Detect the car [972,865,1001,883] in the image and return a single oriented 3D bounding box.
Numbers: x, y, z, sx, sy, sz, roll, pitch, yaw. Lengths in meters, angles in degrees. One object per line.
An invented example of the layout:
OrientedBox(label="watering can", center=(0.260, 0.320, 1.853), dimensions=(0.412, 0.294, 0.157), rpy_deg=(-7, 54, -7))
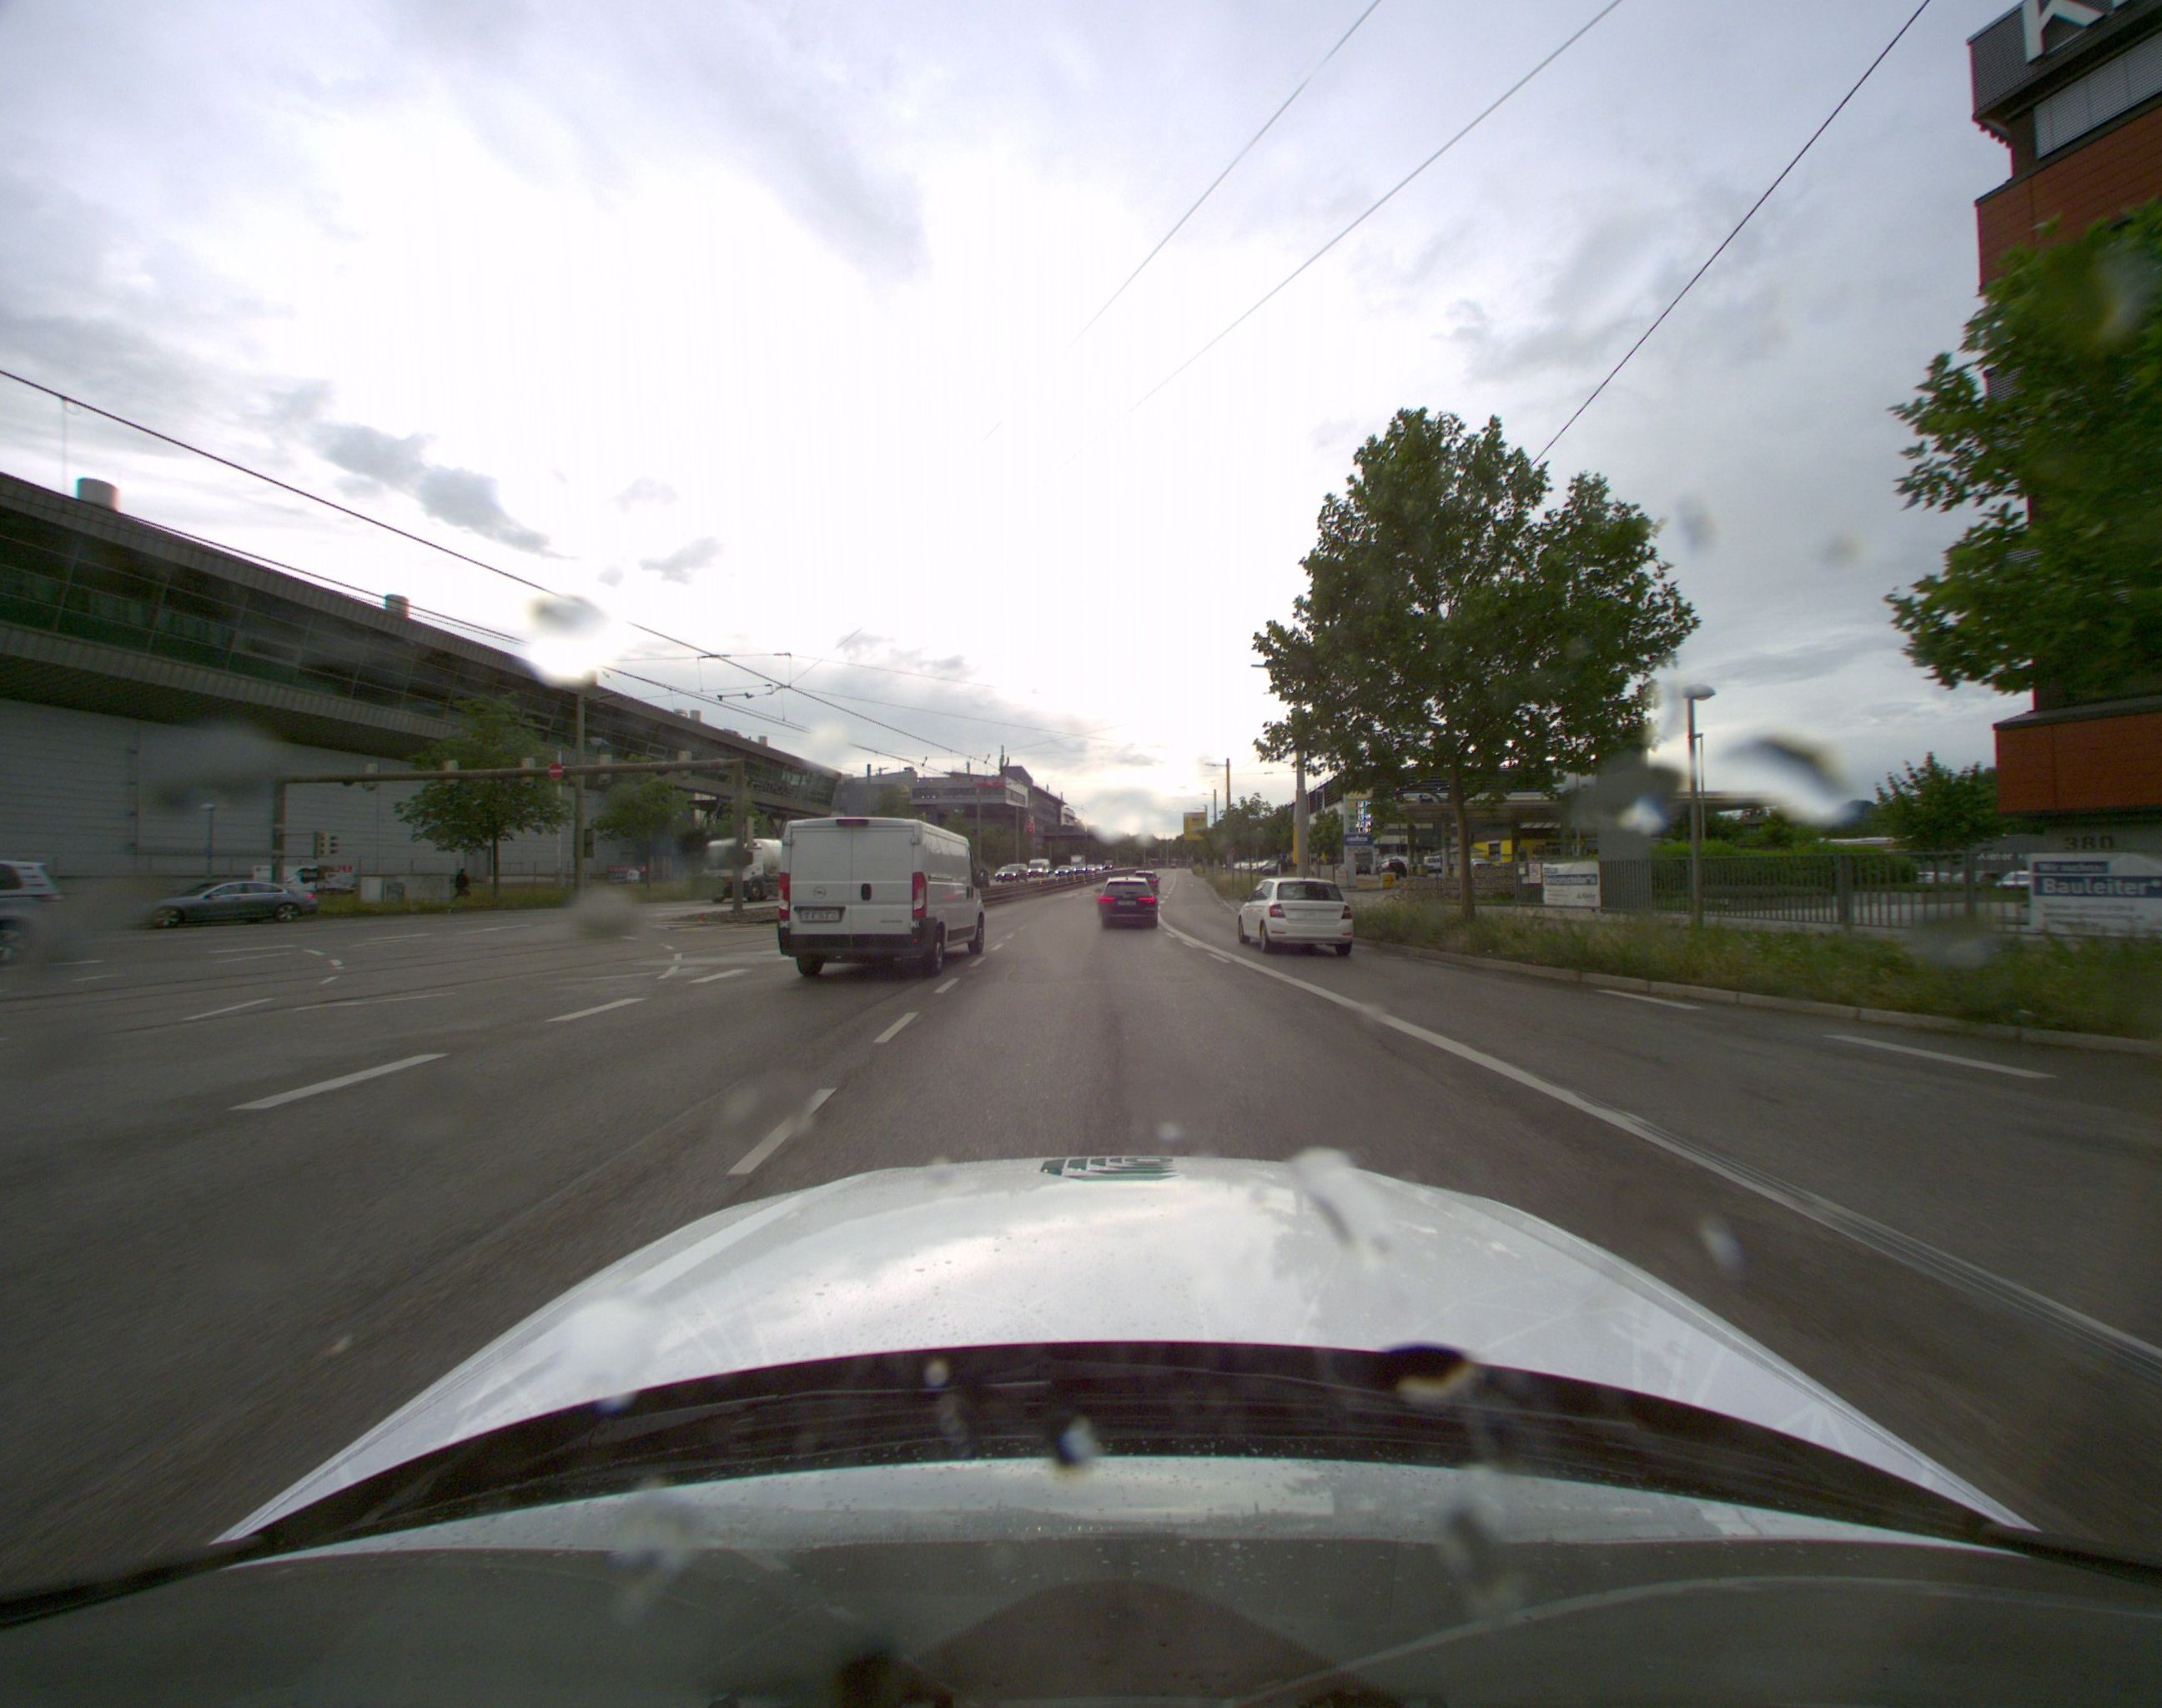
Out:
OrientedBox(label="car", center=(-10.116, 2.122, 87.449), dimensions=(1.789, 1.928, 4.817), rpy_deg=(-1, -1, 10))

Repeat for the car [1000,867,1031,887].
OrientedBox(label="car", center=(-6.575, 2.337, 81.923), dimensions=(2.147, 1.886, 4.310), rpy_deg=(2, -1, 8))

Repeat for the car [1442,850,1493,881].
OrientedBox(label="car", center=(26.880, 0.808, 56.777), dimensions=(1.983, 2.032, 4.008), rpy_deg=(-1, -1, 7))

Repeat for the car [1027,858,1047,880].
OrientedBox(label="car", center=(-5.791, 2.016, 108.089), dimensions=(2.151, 2.722, 5.068), rpy_deg=(2, -1, 1))

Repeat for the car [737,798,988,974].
OrientedBox(label="car", center=(-3.141, 0.487, 13.105), dimensions=(2.435, 2.294, 4.908), rpy_deg=(0, -2, 3))

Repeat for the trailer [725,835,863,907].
OrientedBox(label="trailer", center=(-16.986, 1.068, 49.514), dimensions=(2.708, 3.855, 11.257), rpy_deg=(-2, -2, 10))

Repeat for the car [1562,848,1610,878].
OrientedBox(label="car", center=(35.398, 0.633, 57.148), dimensions=(1.666, 2.014, 3.143), rpy_deg=(2, -1, 7))

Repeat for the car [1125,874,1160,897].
OrientedBox(label="car", center=(4.035, 2.016, 52.814), dimensions=(1.882, 1.465, 3.919), rpy_deg=(0, -2, 10))

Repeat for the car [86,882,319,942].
OrientedBox(label="car", center=(-28.028, 1.791, 26.231), dimensions=(1.978, 1.609, 4.665), rpy_deg=(-3, -2, 17))

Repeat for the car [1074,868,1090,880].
OrientedBox(label="car", center=(0.151, 3.150, 127.985), dimensions=(2.148, 1.886, 4.307), rpy_deg=(2, -1, 5))

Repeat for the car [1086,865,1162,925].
OrientedBox(label="car", center=(1.195, 1.161, 24.374), dimensions=(1.988, 1.637, 3.997), rpy_deg=(0, -1, -2))

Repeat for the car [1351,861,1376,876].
OrientedBox(label="car", center=(30.983, 1.632, 89.345), dimensions=(1.782, 1.592, 4.007), rpy_deg=(-1, -1, 6))

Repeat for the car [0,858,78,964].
OrientedBox(label="car", center=(-20.394, 1.021, 13.121), dimensions=(1.979, 1.837, 4.927), rpy_deg=(0, 0, 14))

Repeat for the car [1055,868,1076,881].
OrientedBox(label="car", center=(-2.047, 2.662, 108.095), dimensions=(1.789, 1.621, 4.969), rpy_deg=(-1, -1, 10))

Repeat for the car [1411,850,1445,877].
OrientedBox(label="car", center=(28.030, 0.786, 65.923), dimensions=(1.669, 2.014, 3.550), rpy_deg=(2, -1, 8))

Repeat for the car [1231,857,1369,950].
OrientedBox(label="car", center=(4.341, 0.947, 16.758), dimensions=(1.823, 1.656, 4.000), rpy_deg=(1, -1, 1))

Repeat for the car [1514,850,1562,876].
OrientedBox(label="car", center=(36.873, 0.735, 65.816), dimensions=(1.862, 2.014, 3.777), rpy_deg=(2, -1, 3))

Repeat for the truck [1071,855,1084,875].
OrientedBox(label="truck", center=(-0.576, 2.078, 150.990), dimensions=(2.151, 3.646, 6.874), rpy_deg=(2, -1, 1))

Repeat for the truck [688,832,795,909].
OrientedBox(label="truck", center=(-18.018, 0.910, 43.583), dimensions=(2.729, 3.806, 5.425), rpy_deg=(-2, -2, 10))

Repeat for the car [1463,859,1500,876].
OrientedBox(label="car", center=(38.882, 1.278, 79.087), dimensions=(1.983, 1.596, 4.007), rpy_deg=(-1, -1, 6))

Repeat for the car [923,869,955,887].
OrientedBox(label="car", center=(-12.485, 2.069, 71.670), dimensions=(1.555, 1.510, 4.000), rpy_deg=(0, -1, 8))
